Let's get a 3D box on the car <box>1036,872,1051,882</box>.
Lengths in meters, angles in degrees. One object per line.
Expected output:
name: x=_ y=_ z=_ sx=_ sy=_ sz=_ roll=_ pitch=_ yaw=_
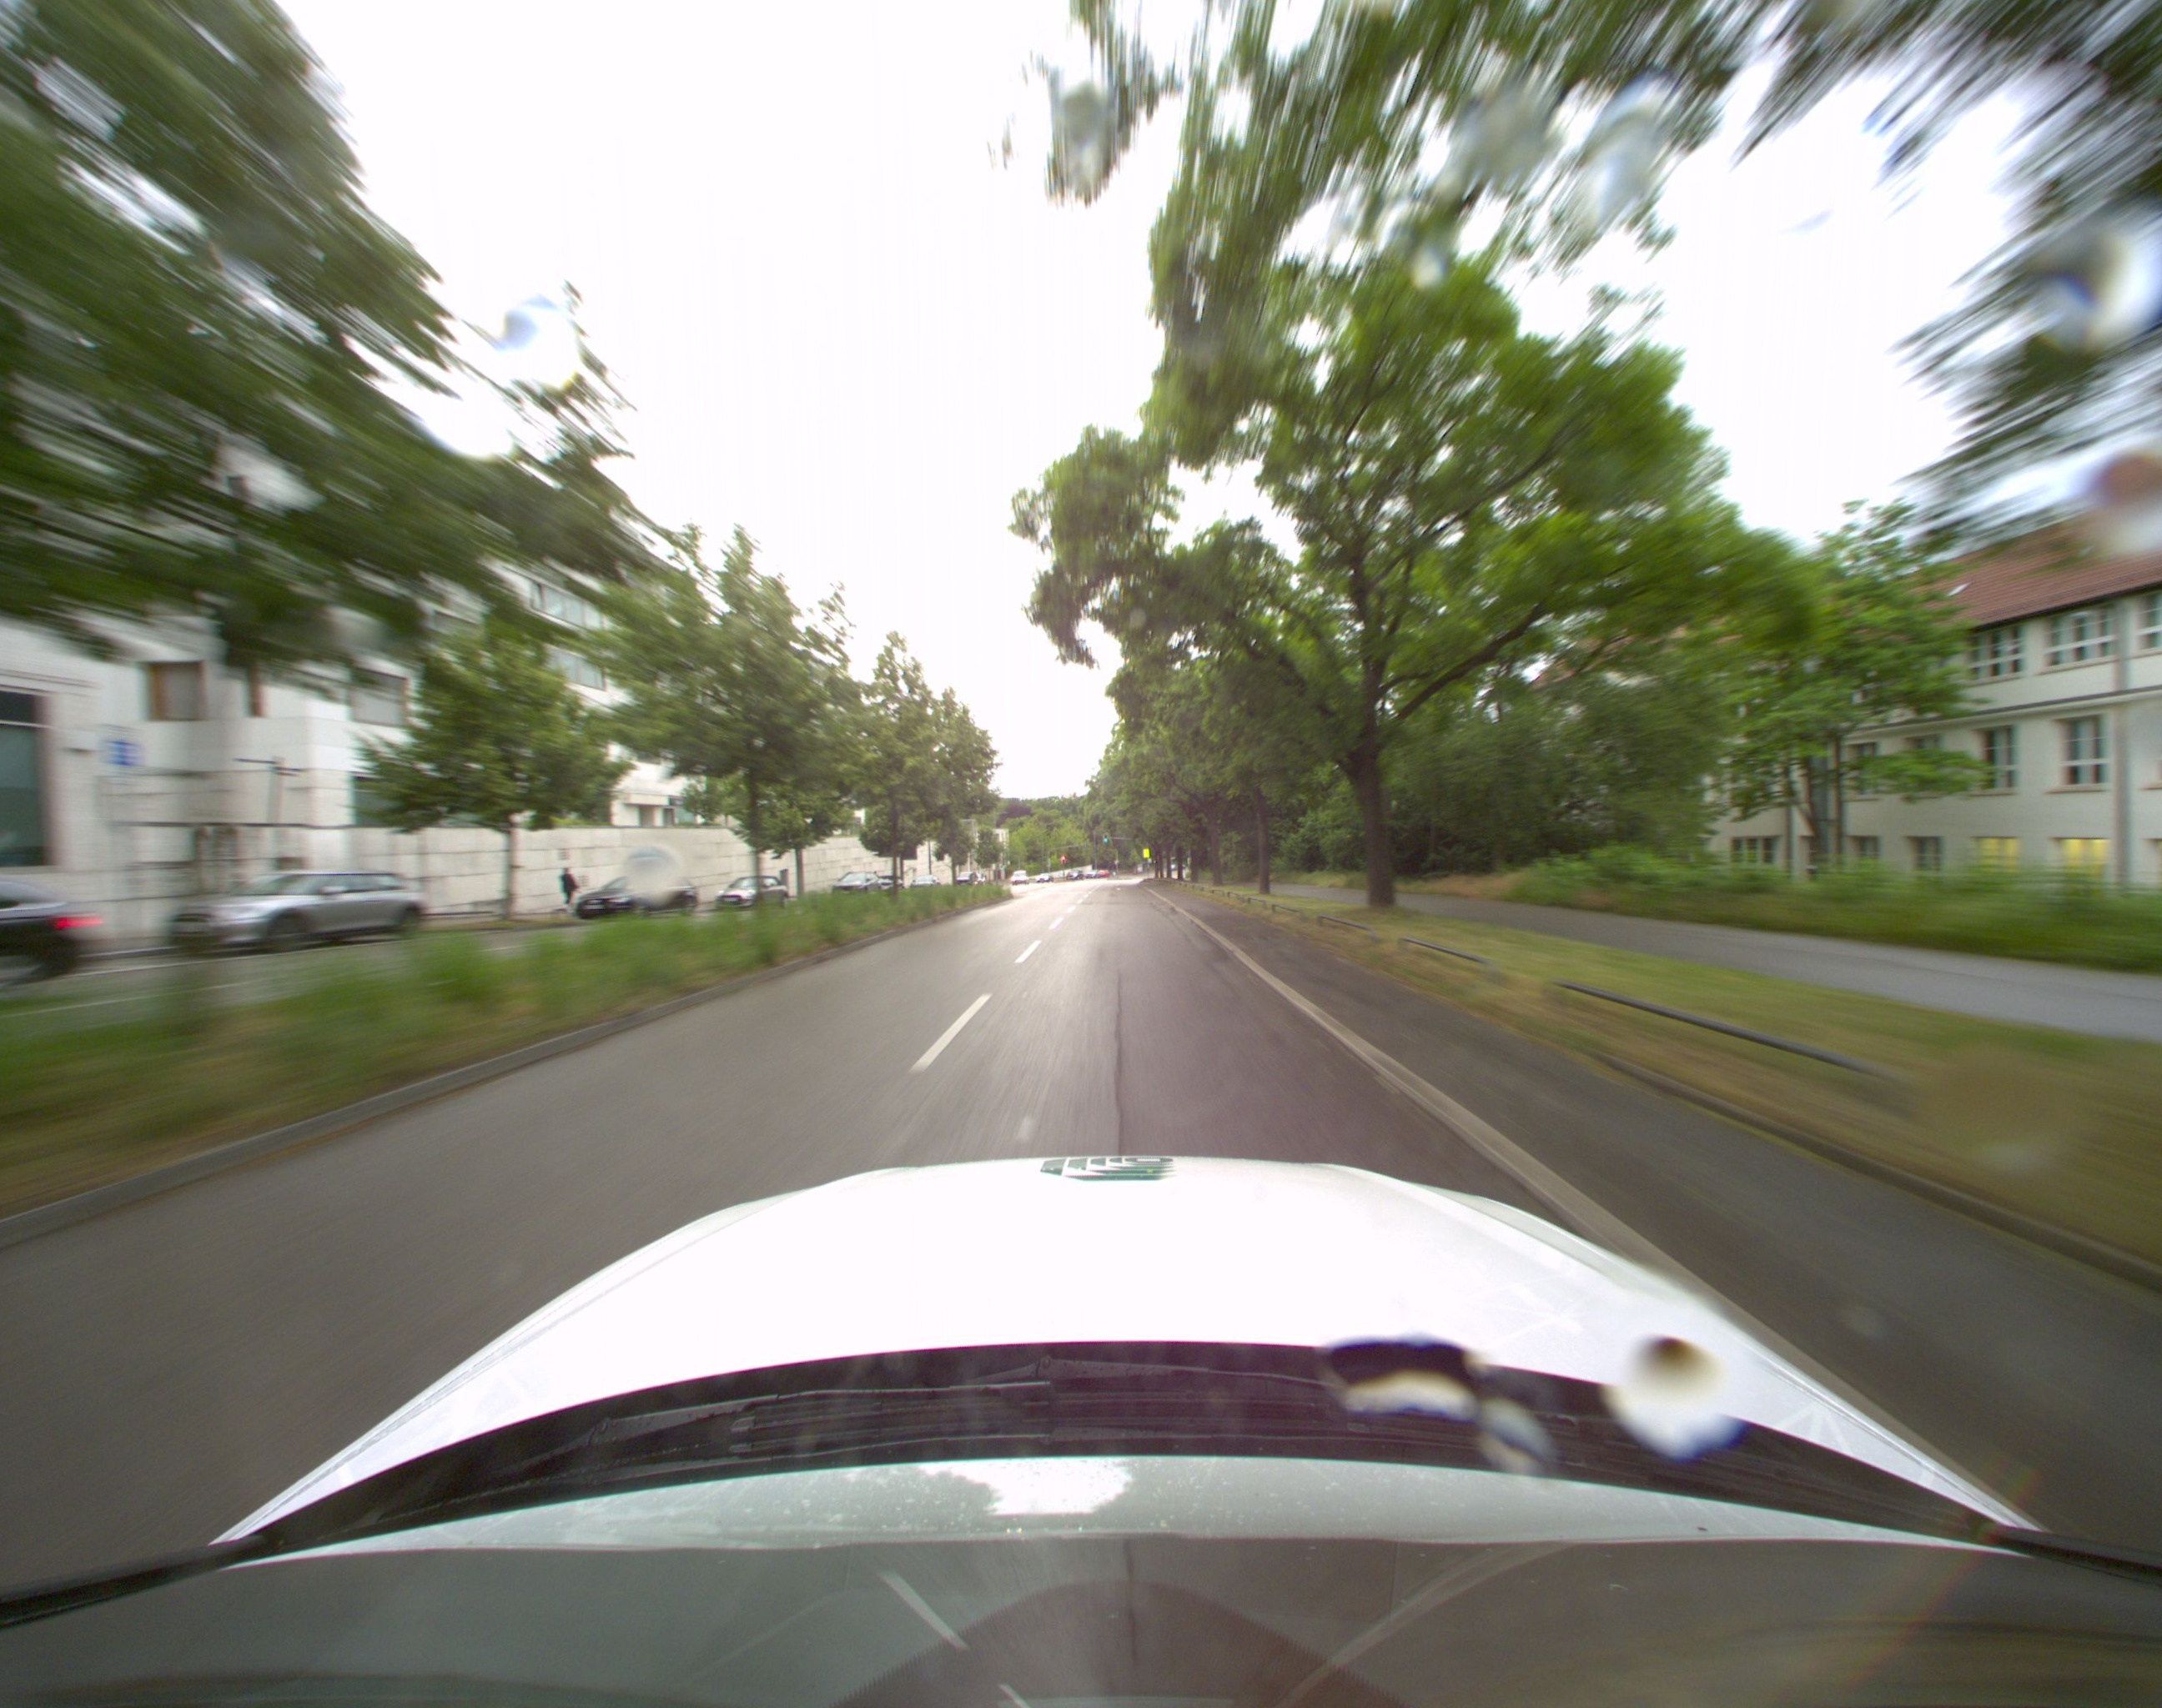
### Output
car: x=-5.615 y=3.451 z=120.836 sx=1.763 sy=1.381 sz=4.192 roll=-4 pitch=-2 yaw=2

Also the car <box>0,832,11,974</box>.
car: x=-14.954 y=0.637 z=7.902 sx=2.114 sy=1.816 sz=5.261 roll=-1 pitch=0 yaw=1

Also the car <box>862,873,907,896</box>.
car: x=-12.784 y=1.973 z=53.165 sx=1.688 sy=1.360 sz=4.166 roll=-2 pitch=-1 yaw=3

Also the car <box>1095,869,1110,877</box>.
car: x=4.308 y=3.816 z=165.351 sx=1.860 sy=1.575 sz=4.242 roll=0 pitch=-1 yaw=18

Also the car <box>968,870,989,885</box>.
car: x=-11.186 y=2.564 z=88.825 sx=1.672 sy=1.515 sz=3.712 roll=-1 pitch=-2 yaw=2

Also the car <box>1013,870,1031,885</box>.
car: x=-7.469 y=2.981 z=103.450 sx=1.704 sy=1.746 sz=4.339 roll=-2 pitch=-1 yaw=1

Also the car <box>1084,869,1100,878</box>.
car: x=2.066 y=3.728 z=158.020 sx=1.838 sy=1.640 sz=4.113 roll=1 pitch=0 yaw=19

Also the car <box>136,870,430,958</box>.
car: x=-14.362 y=1.007 z=14.997 sx=1.689 sy=1.385 sz=3.699 roll=0 pitch=-1 yaw=1

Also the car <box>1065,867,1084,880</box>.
car: x=-1.018 y=3.301 z=139.090 sx=1.906 sy=1.857 sz=4.525 roll=-6 pitch=-2 yaw=15

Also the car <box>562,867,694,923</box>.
car: x=-13.937 y=1.213 z=25.350 sx=1.688 sy=1.581 sz=4.020 roll=-1 pitch=-1 yaw=3

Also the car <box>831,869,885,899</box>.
car: x=-12.908 y=1.709 z=47.337 sx=1.696 sy=1.620 sz=4.364 roll=-2 pitch=-2 yaw=3

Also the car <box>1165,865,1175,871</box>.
car: x=23.547 y=3.774 z=216.068 sx=1.698 sy=1.461 sz=3.769 roll=-1 pitch=-2 yaw=21

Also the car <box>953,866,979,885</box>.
car: x=-11.699 y=2.174 z=82.862 sx=1.850 sy=1.781 sz=4.596 roll=-2 pitch=-2 yaw=1

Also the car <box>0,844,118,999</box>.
car: x=-11.992 y=0.735 z=7.335 sx=1.688 sy=1.581 sz=4.021 roll=-1 pitch=1 yaw=3

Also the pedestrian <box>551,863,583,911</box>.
pedestrian: x=-19.376 y=1.239 z=30.721 sx=0.715 sy=1.775 sz=0.692 roll=-1 pitch=-1 yaw=1

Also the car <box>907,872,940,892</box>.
car: x=-12.299 y=2.168 z=63.714 sx=1.673 sy=1.426 sz=3.966 roll=-1 pitch=-2 yaw=1

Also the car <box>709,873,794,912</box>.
car: x=-13.627 y=1.568 z=33.901 sx=1.687 sy=1.444 sz=3.864 roll=0 pitch=0 yaw=4

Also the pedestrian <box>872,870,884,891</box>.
pedestrian: x=-17.410 y=2.261 z=69.731 sx=0.705 sy=1.775 sz=1.022 roll=-2 pitch=-2 yaw=2
